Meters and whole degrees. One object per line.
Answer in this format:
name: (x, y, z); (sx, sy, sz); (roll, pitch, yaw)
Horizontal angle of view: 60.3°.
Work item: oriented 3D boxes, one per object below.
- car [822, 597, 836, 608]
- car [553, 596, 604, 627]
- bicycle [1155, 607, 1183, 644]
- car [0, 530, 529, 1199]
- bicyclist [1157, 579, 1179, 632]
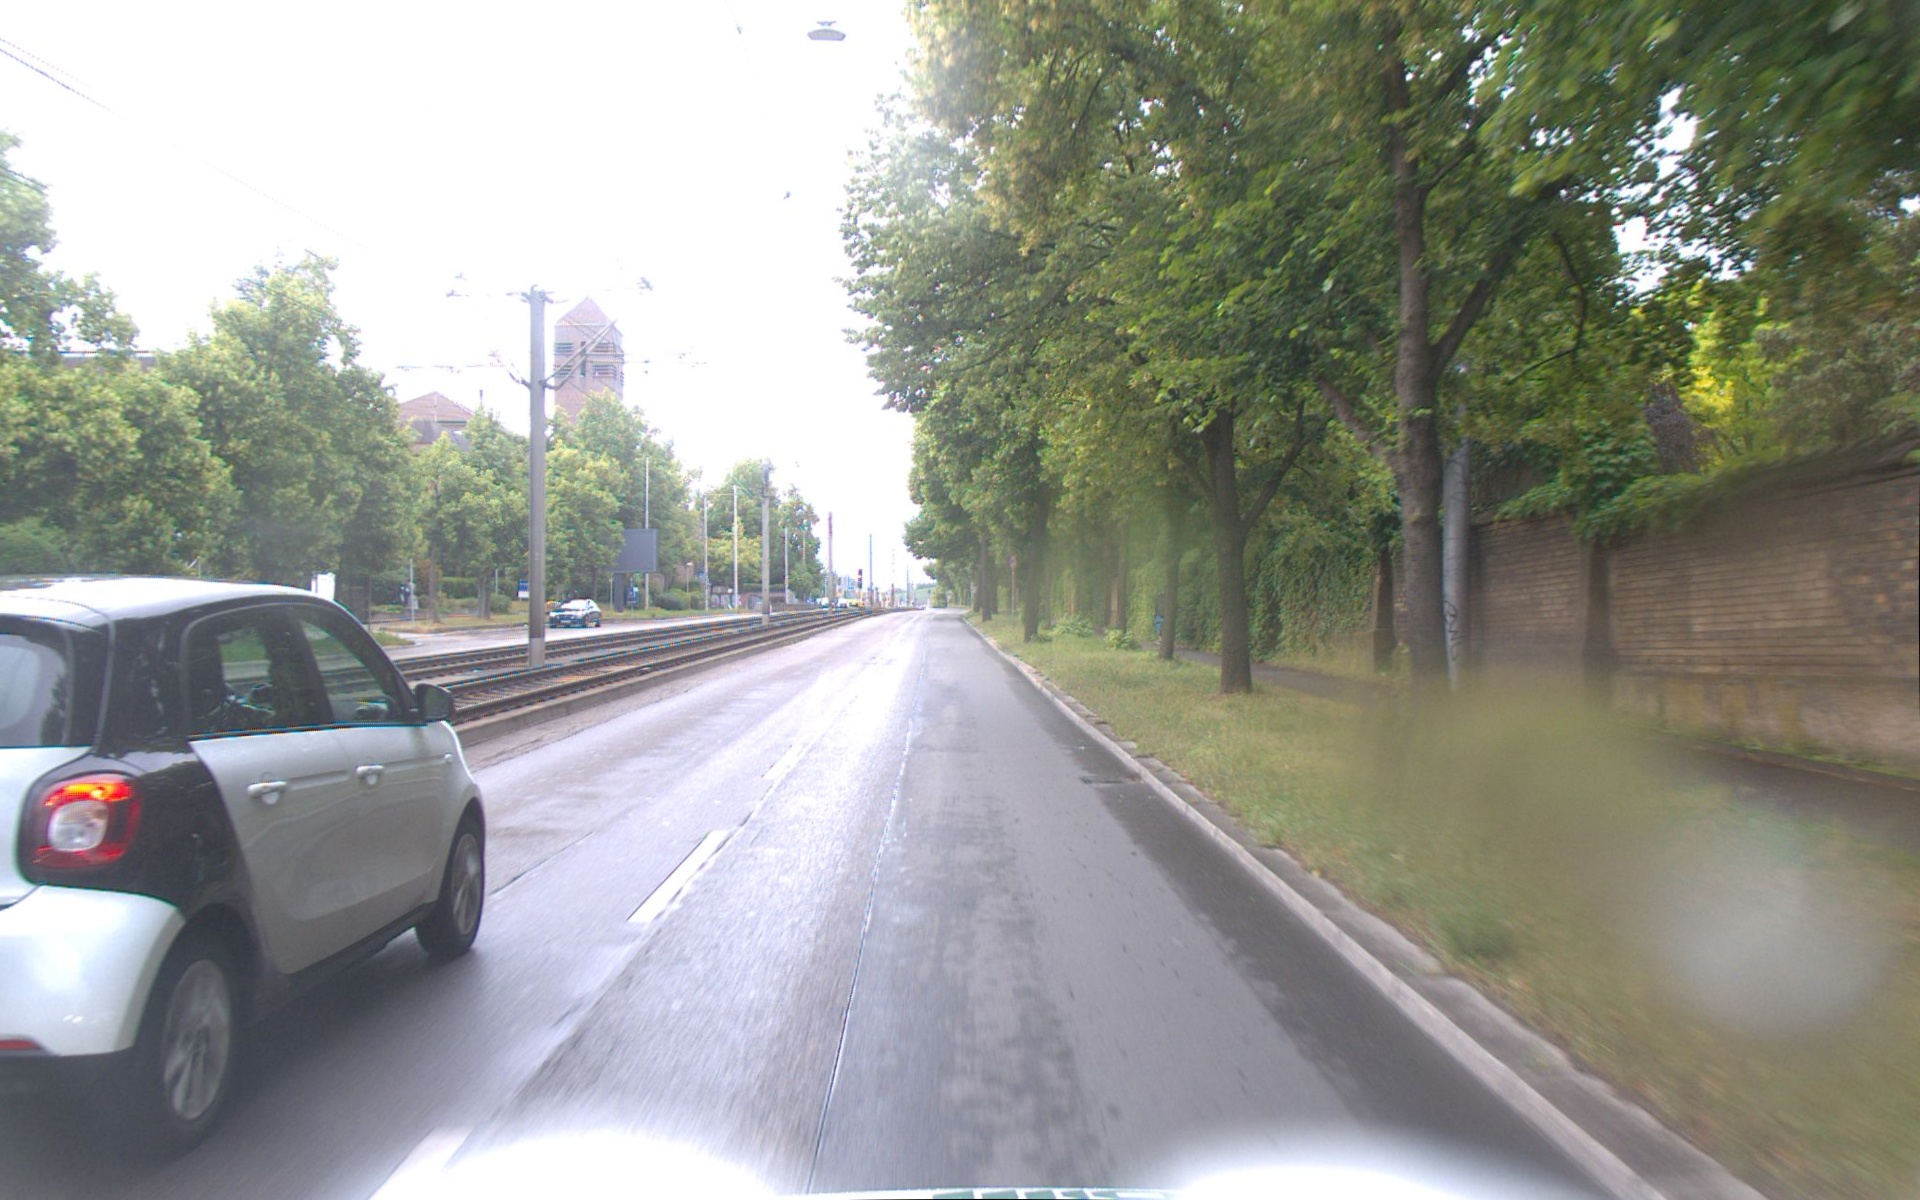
car: (-19.878, 0.350, 250.515); (1.974, 1.685, 4.609); (0, 0, -7)
car: (-19.960, 0.591, 86.756); (1.758, 1.557, 4.620); (0, 0, -2)
bicycle: (5.669, 0.678, 44.962); (0.531, 0.964, 2.550); (0, 0, 2)
car: (-2.772, 0.609, 5.696); (1.642, 1.557, 3.721); (0, 0, -1)
bicyclist: (5.661, 0.152, 44.966); (0.524, 1.414, 0.666); (0, 0, 2)
